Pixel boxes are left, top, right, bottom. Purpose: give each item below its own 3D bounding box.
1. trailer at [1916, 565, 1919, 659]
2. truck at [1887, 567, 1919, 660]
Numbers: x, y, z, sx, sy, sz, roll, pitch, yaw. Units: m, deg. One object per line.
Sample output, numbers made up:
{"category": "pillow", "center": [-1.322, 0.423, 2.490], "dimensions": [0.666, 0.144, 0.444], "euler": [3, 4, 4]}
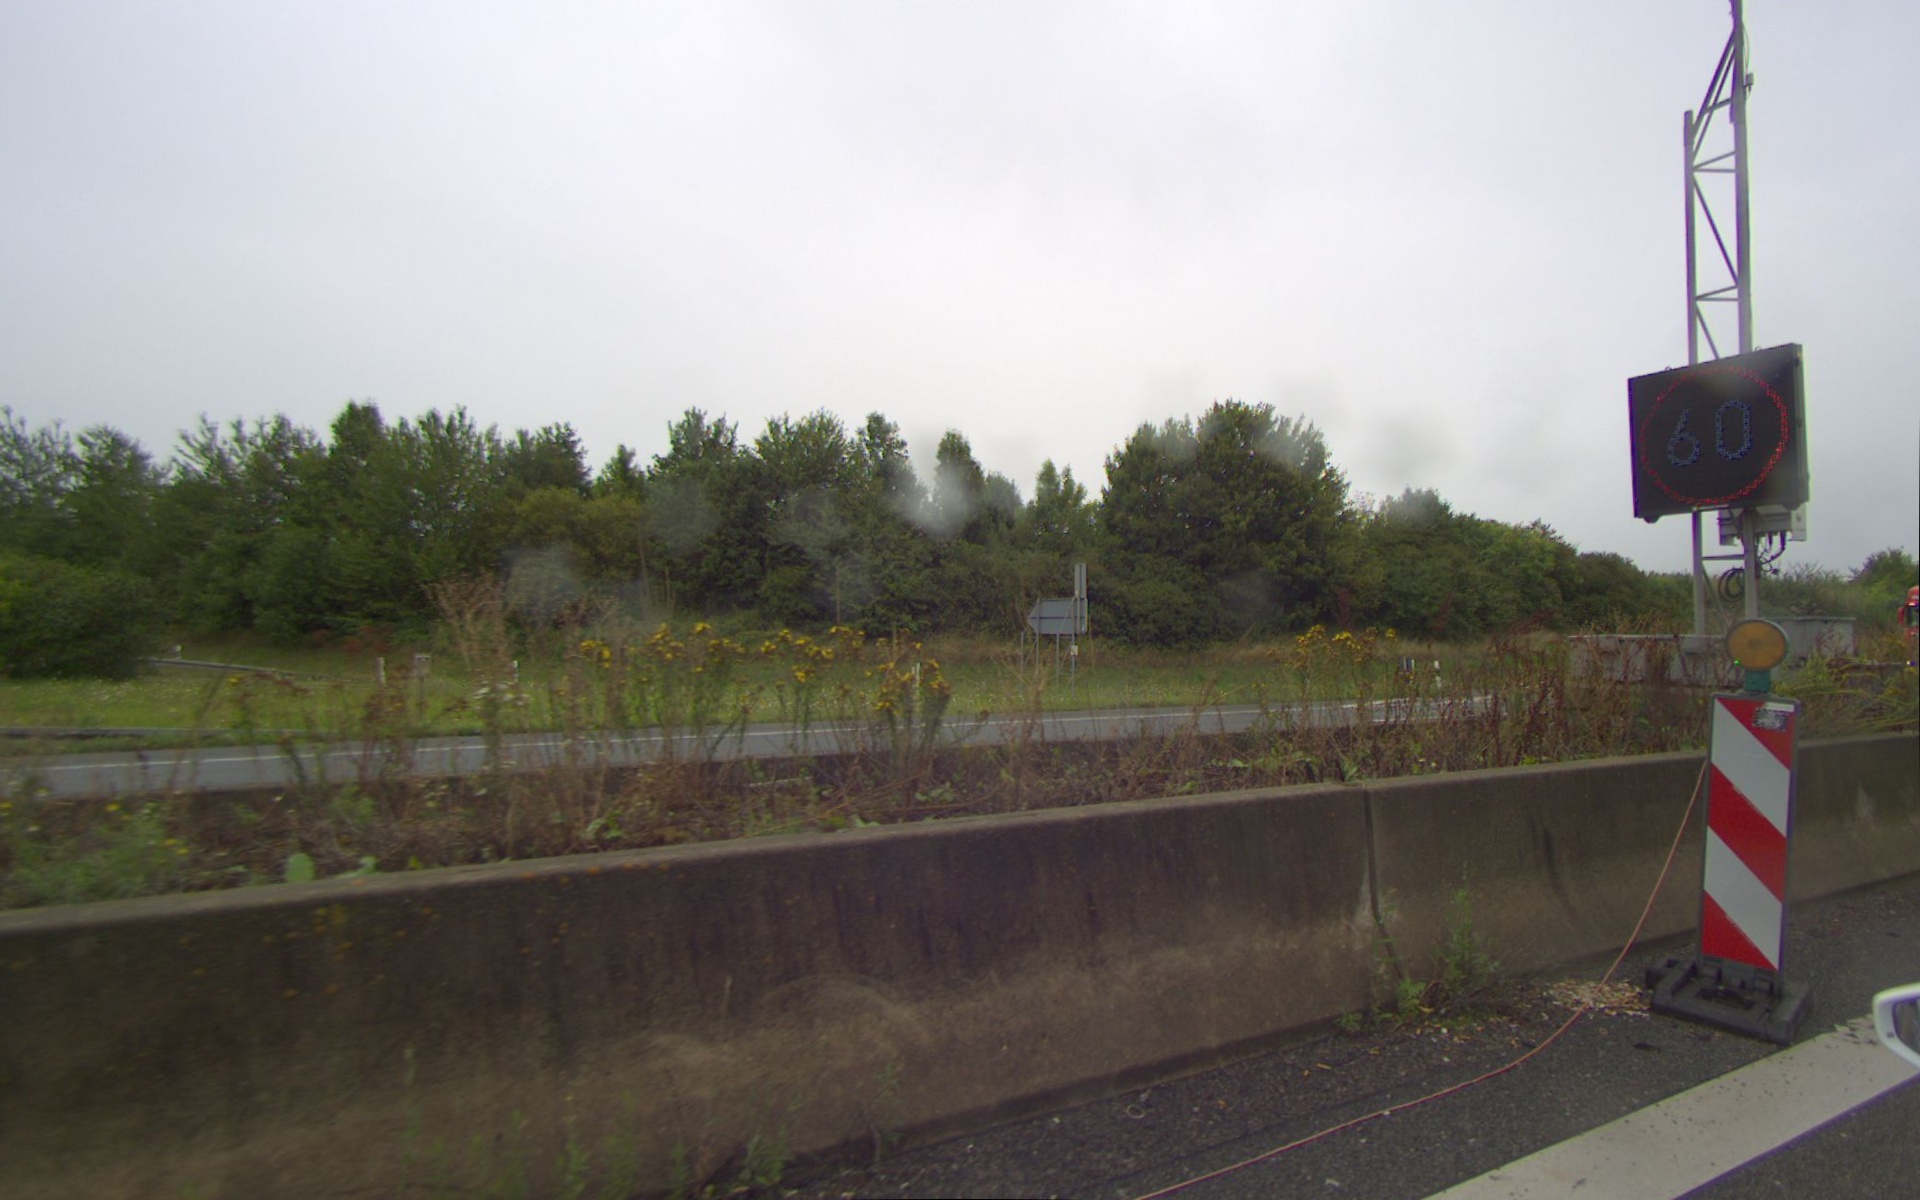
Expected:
{"category": "trailer", "center": [45.955, 0.729, 43.314], "dimensions": [13.813, 3.865, 3.023], "euler": [2, 0, -30]}
{"category": "truck", "center": [39.536, 0.605, 39.614], "dimensions": [4.868, 3.578, 3.010], "euler": [2, 0, -30]}
